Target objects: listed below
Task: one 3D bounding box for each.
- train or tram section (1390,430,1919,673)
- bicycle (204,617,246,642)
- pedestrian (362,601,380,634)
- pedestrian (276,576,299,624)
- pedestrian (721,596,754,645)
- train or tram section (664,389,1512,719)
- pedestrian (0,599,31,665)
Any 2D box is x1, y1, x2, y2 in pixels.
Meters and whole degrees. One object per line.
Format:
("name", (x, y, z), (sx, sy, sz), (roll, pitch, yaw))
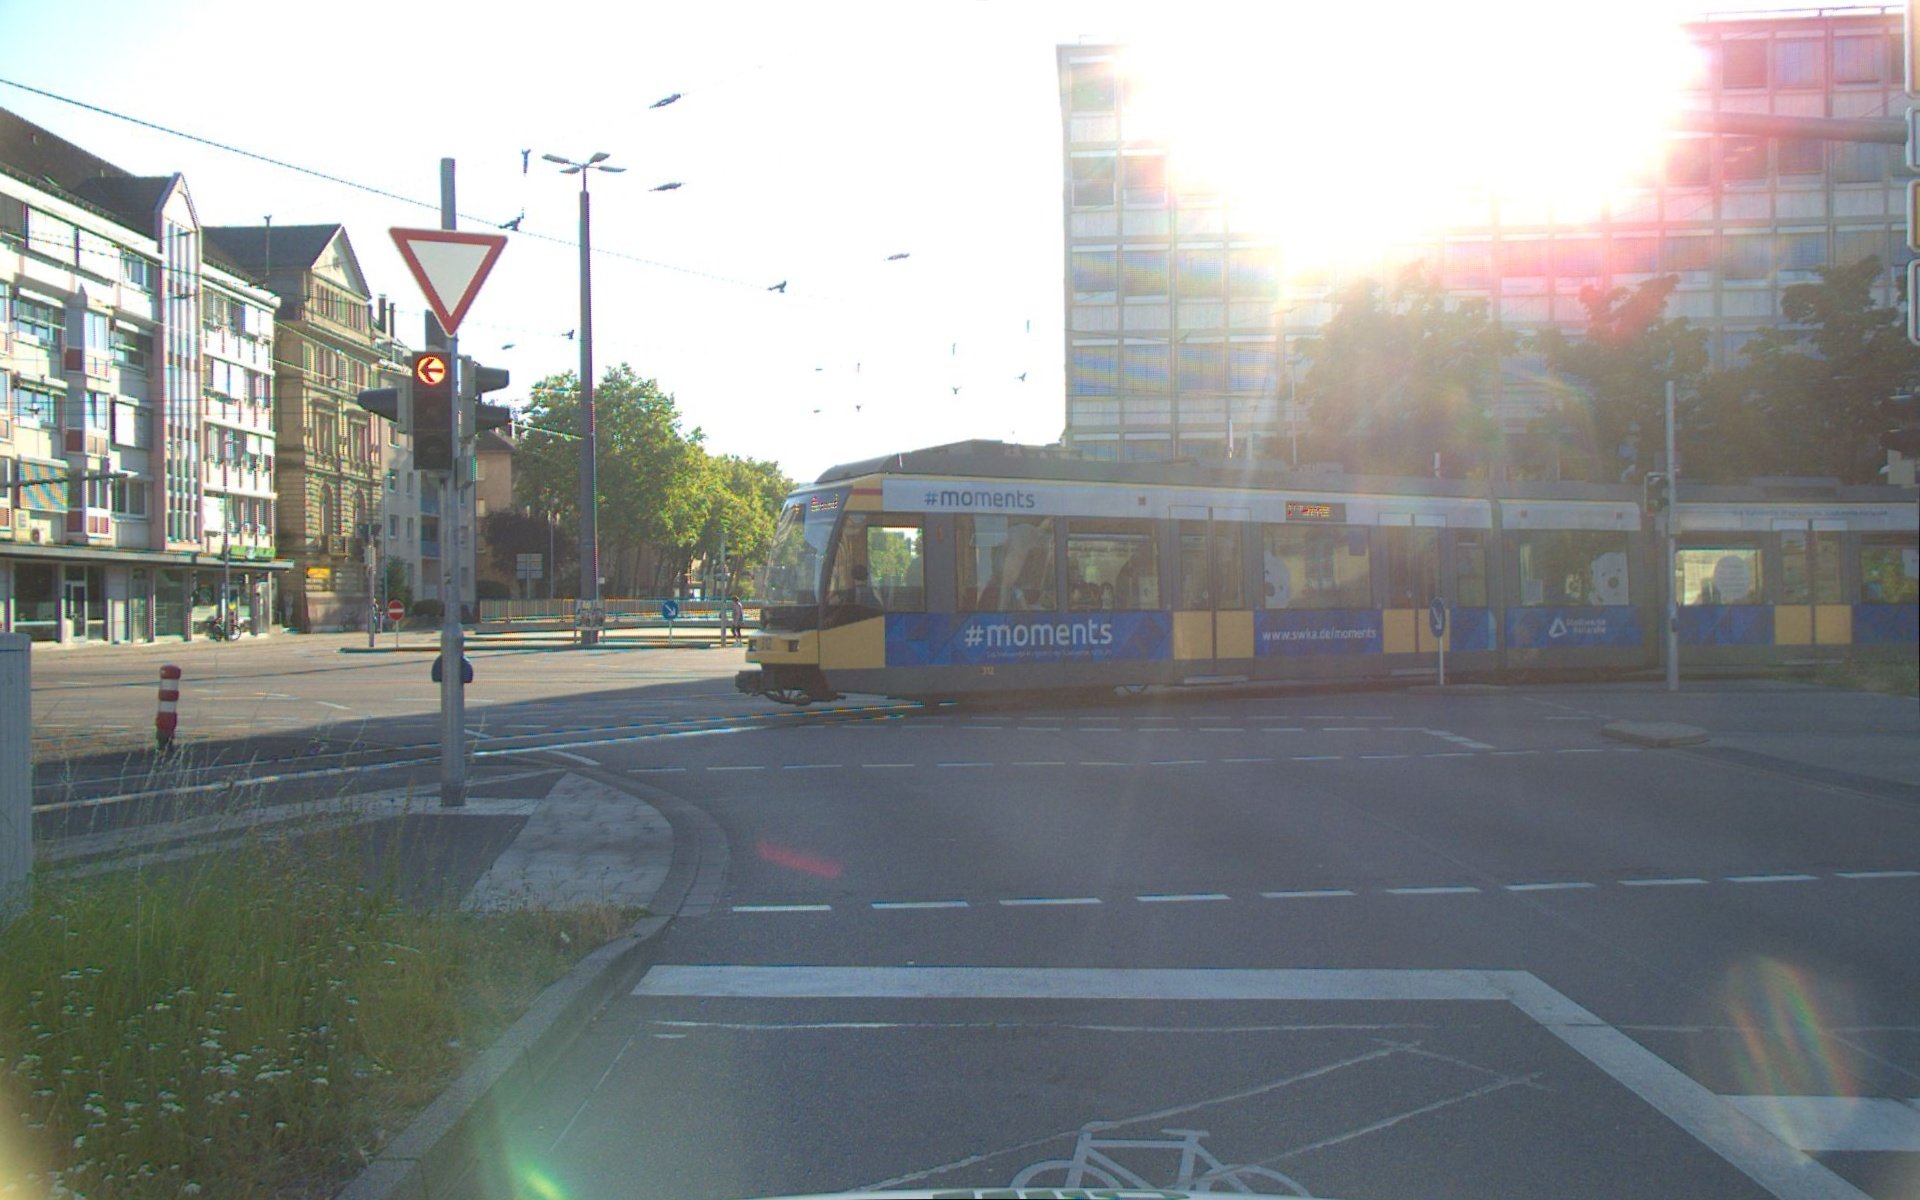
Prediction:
("train or tram section", (14.441, -0.741, 29.872), (12.713, 3.901, 3.703), (0, 0, -13))
("bicycle", (-32.430, 1.299, 73.026), (0.441, 1.089, 2.093), (1, 0, 16))
("pedestrian", (-31.833, 0.943, 89.365), (0.681, 1.725, 0.724), (1, -1, -1))
("pedestrian", (-34.585, -0.006, 85.054), (0.910, 2.440, 0.958), (1, -1, -11))
("pedestrian", (-7.032, 0.655, 52.230), (0.844, 1.491, 0.679), (1, -6, -30))
("train or tram section", (2.445, -0.565, 24.706), (13.195, 3.901, 3.673), (0, 0, -34))
("pedestrian", (-30.026, 0.999, 51.867), (1.171, 1.913, 0.857), (1, 10, -5))
